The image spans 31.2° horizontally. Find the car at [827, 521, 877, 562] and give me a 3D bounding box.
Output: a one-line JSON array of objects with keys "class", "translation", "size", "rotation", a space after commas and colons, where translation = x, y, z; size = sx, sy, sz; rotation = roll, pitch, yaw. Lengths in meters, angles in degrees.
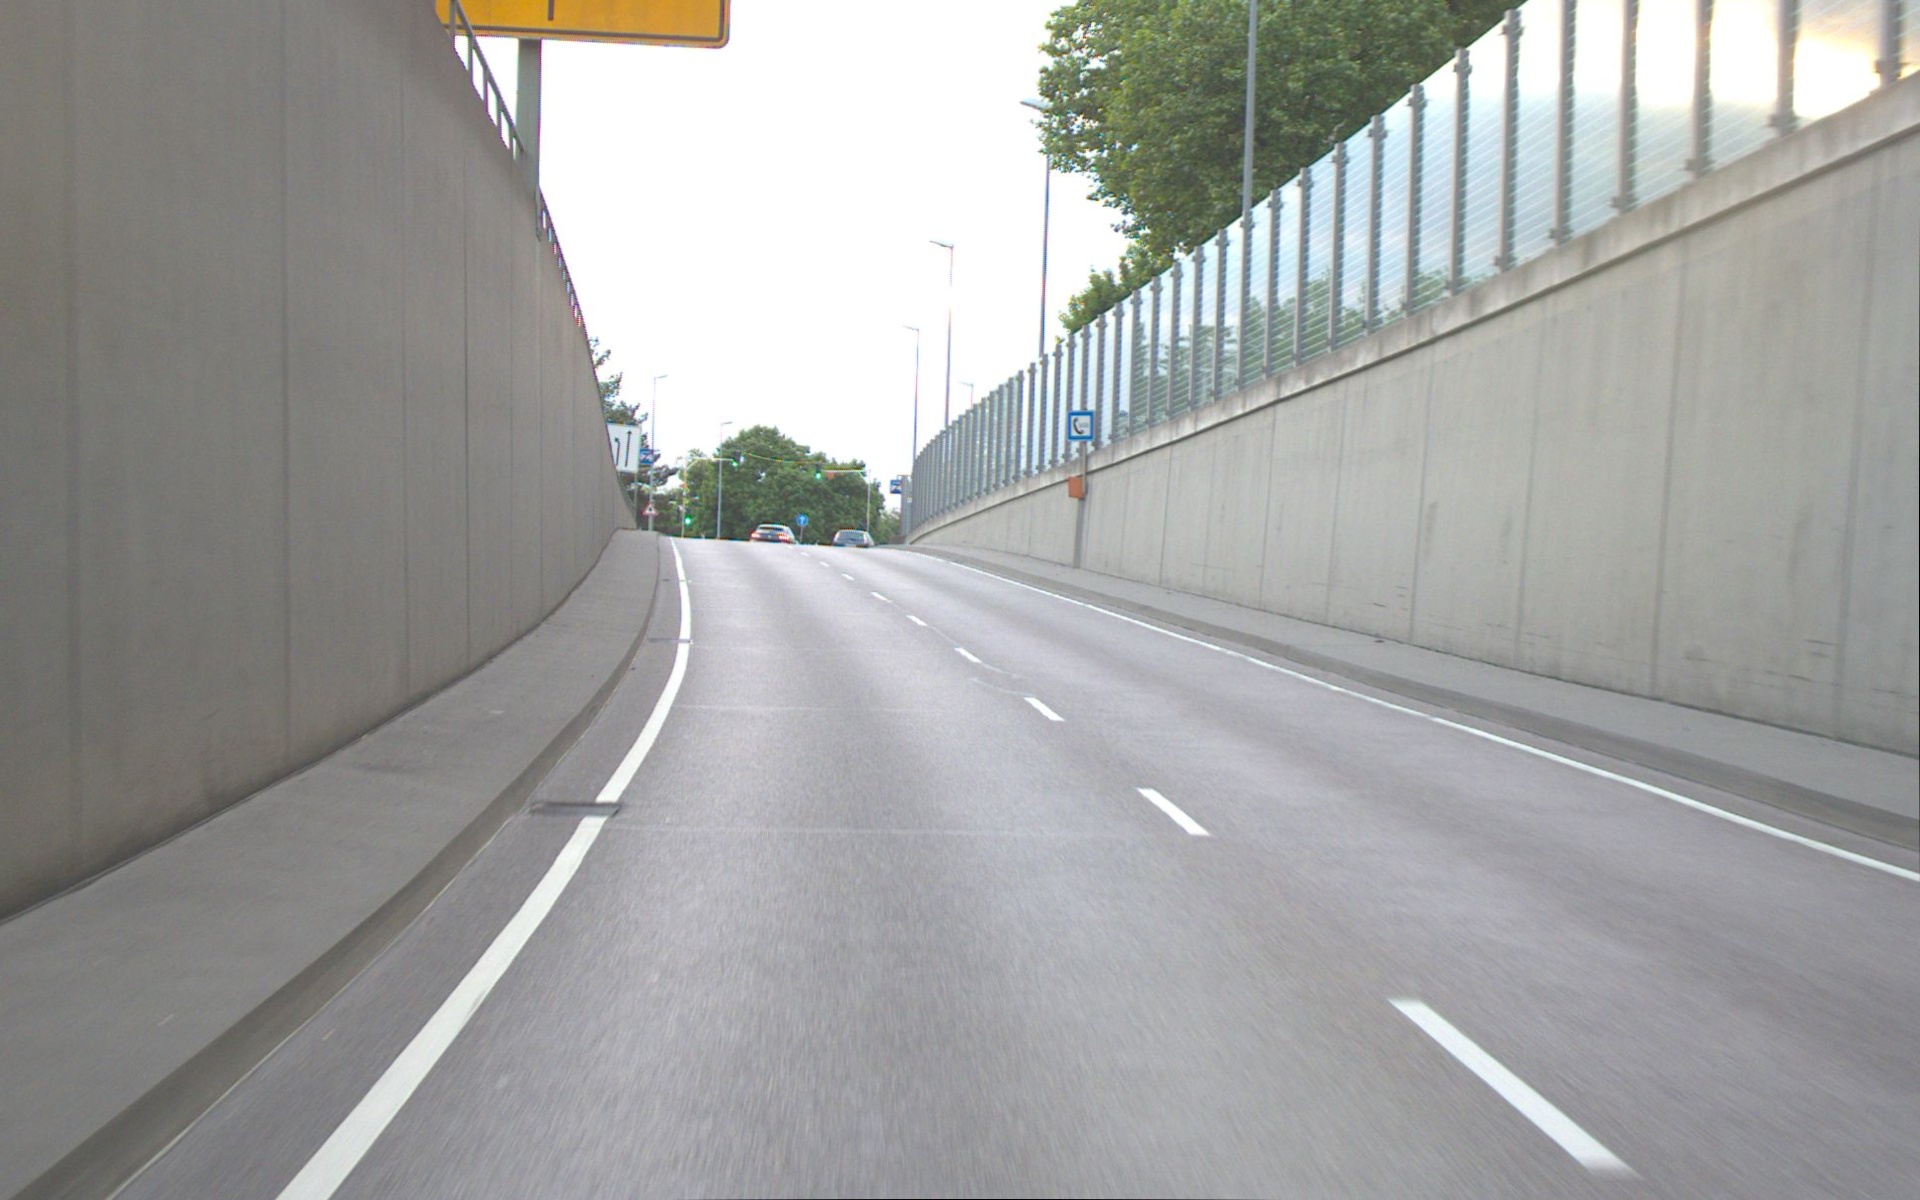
[{"class": "car", "translation": [-4.825, -2.590, 153.042], "size": [1.869, 1.726, 4.001], "rotation": [2, 0, -7]}]

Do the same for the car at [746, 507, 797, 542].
[{"class": "car", "translation": [-8.286, -3.314, 150.836], "size": [1.841, 1.384, 4.001], "rotation": [2, 0, -8]}]
